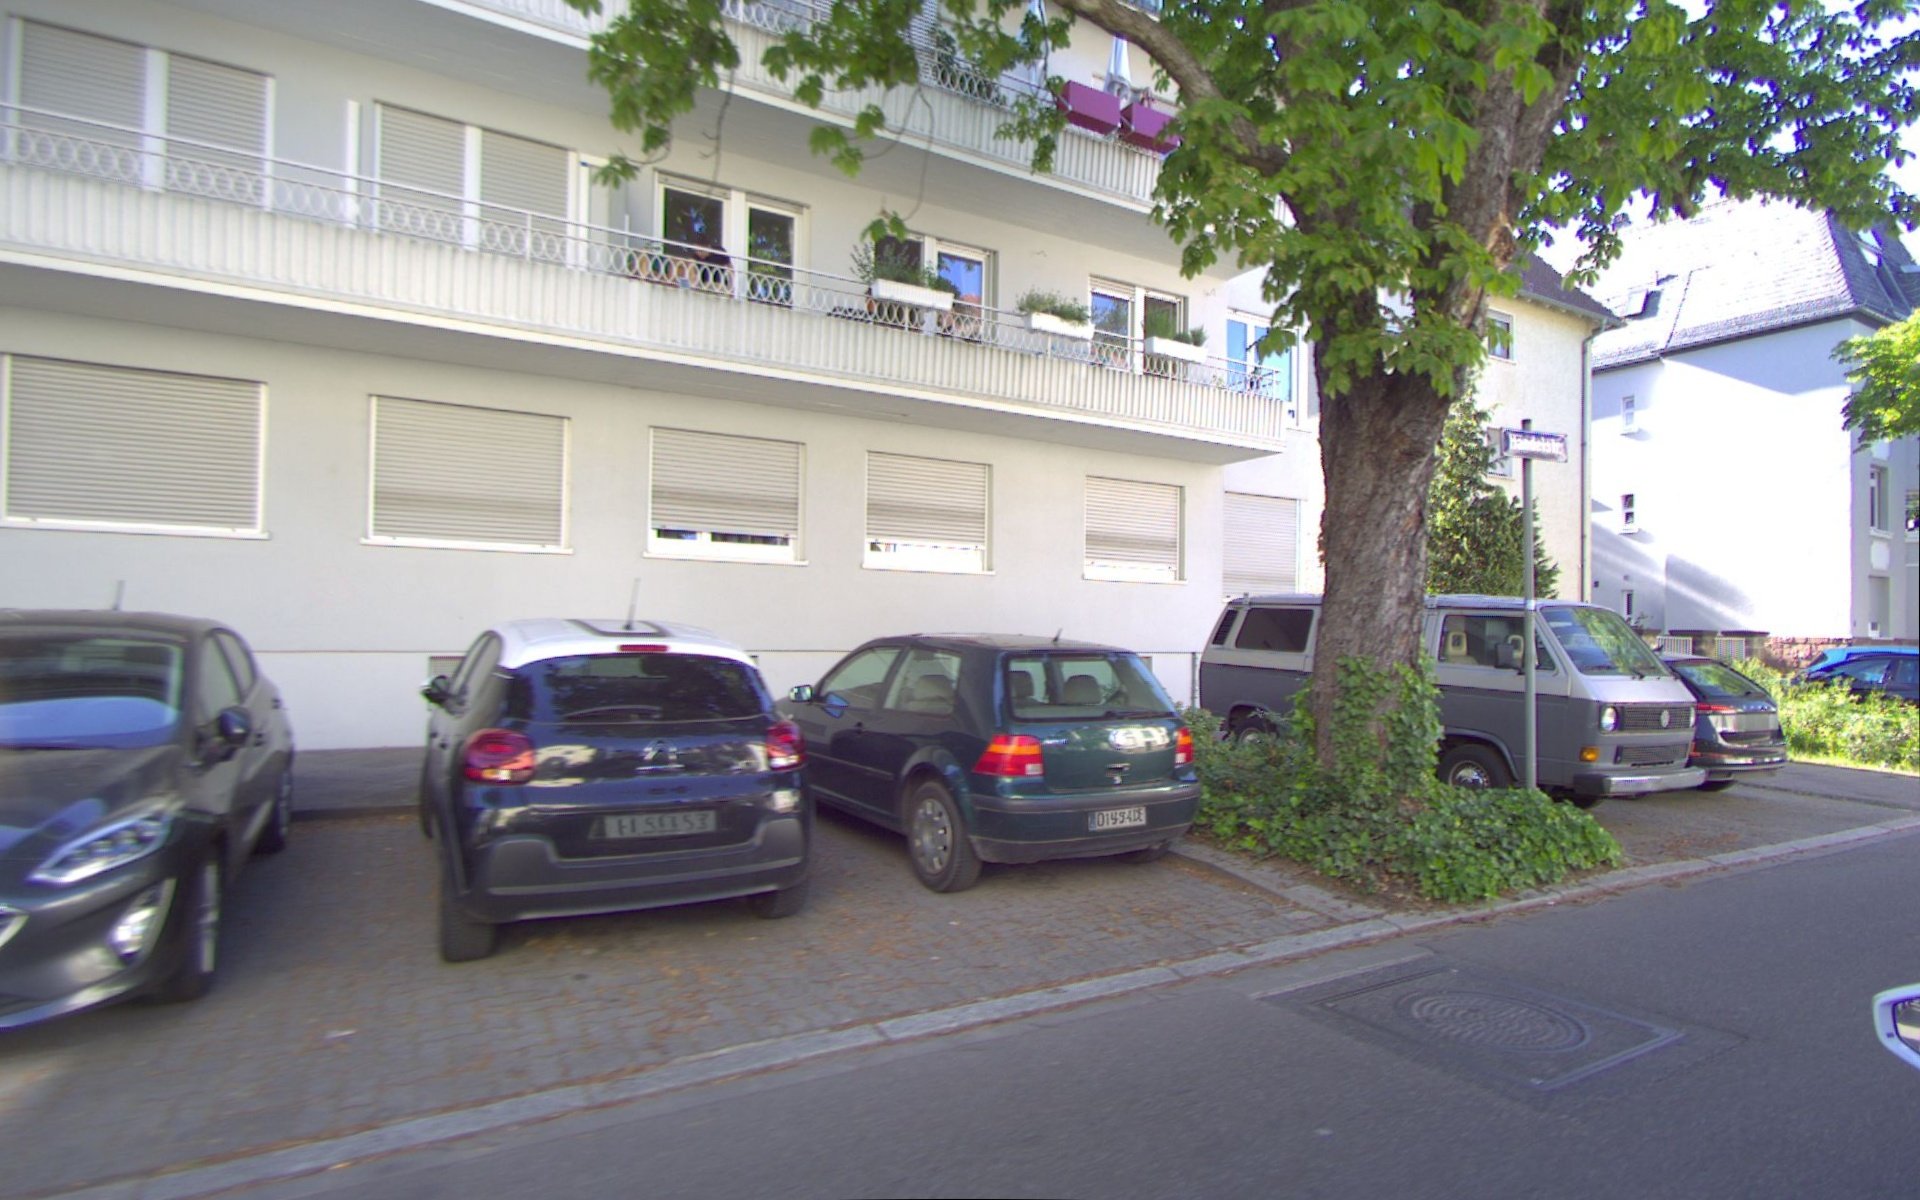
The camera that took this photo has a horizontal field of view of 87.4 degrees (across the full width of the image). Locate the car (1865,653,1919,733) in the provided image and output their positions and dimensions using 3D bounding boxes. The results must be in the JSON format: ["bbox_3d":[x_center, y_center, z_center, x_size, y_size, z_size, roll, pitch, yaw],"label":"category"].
[{"bbox_3d":[19.274,1.740,18.195,1.677,1.487,3.969,2,-2,-30],"label":"car"}]

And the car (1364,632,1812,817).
[{"bbox_3d":[6.661,1.182,11.140,1.641,1.518,3.930,1,0,-27],"label":"car"}]

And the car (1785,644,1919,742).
[{"bbox_3d":[17.060,1.608,17.354,1.857,1.613,3.967,2,-2,-31],"label":"car"}]

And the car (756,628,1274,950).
[{"bbox_3d":[0.071,0.981,7.010,1.696,1.433,3.901,1,0,-31],"label":"car"}]

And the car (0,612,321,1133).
[{"bbox_3d":[-4.068,0.850,4.480,1.689,1.482,3.629,2,0,-27],"label":"car"}]

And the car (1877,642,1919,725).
[{"bbox_3d":[21.415,1.690,19.949,1.800,1.674,4.369,0,-2,-28],"label":"car"}]

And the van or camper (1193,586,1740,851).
[{"bbox_3d":[4.558,0.936,9.815,1.941,1.940,4.477,2,-2,-29],"label":"van or camper"}]

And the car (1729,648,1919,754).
[{"bbox_3d":[14.861,1.554,15.680,1.840,1.518,4.166,2,-2,-31],"label":"car"}]

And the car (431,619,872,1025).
[{"bbox_3d":[-2.030,0.914,5.833,1.775,1.477,3.463,2,0,-28],"label":"car"}]
